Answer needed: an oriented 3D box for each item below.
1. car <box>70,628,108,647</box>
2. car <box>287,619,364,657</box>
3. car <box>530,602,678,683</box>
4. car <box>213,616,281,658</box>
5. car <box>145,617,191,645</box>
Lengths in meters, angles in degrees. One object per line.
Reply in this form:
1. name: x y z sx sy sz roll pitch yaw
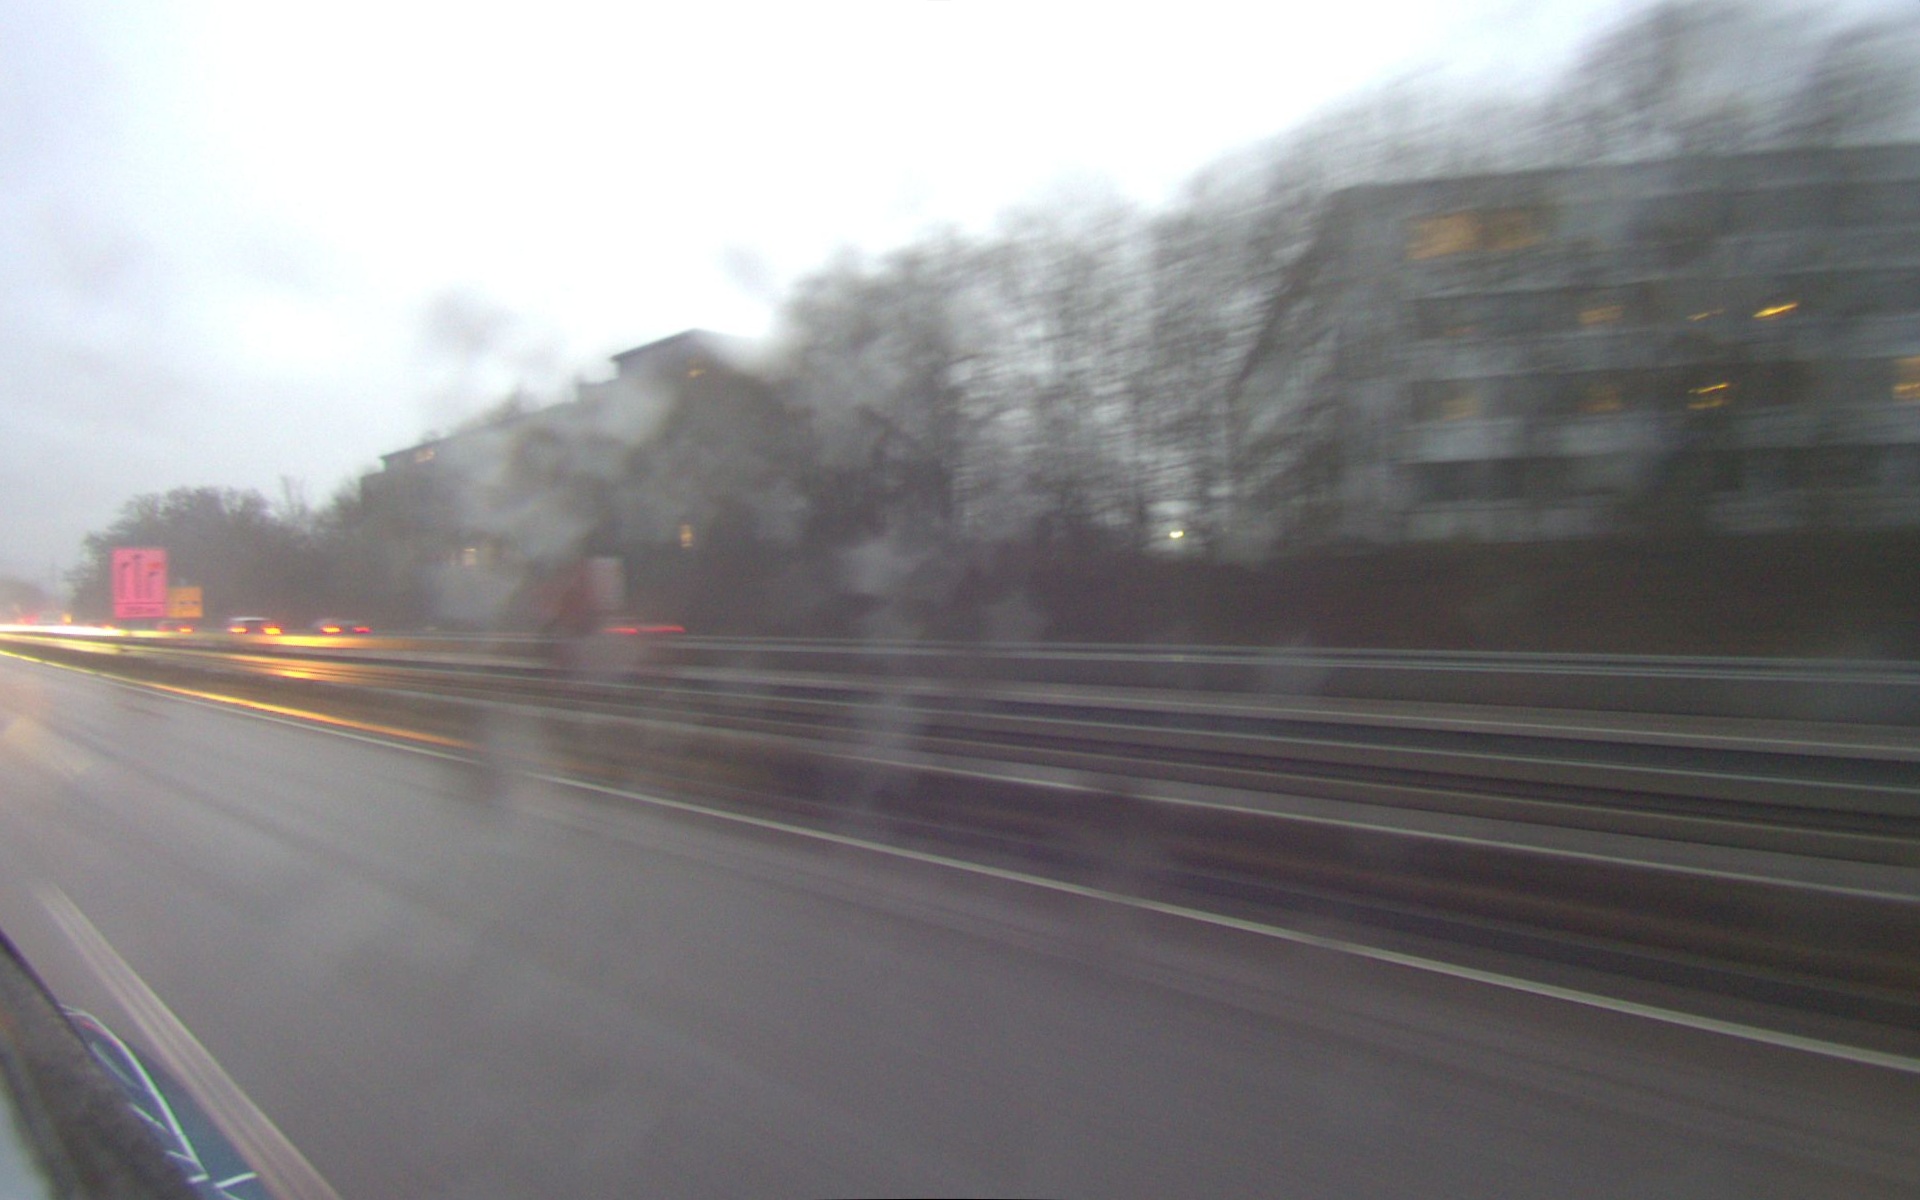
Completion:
1. car: -71.071 3.010 82.549 4.208 1.370 1.875 -2 2 44
2. car: -31.117 1.850 49.573 4.471 1.692 1.973 -2 0 42
3. car: -9.046 1.042 25.581 4.205 1.799 1.627 -2 2 42
4. car: -33.444 1.717 47.430 3.940 1.766 1.733 -2 2 42
5. car: -54.275 2.103 69.302 1.970 1.766 4.903 -4 2 -43
